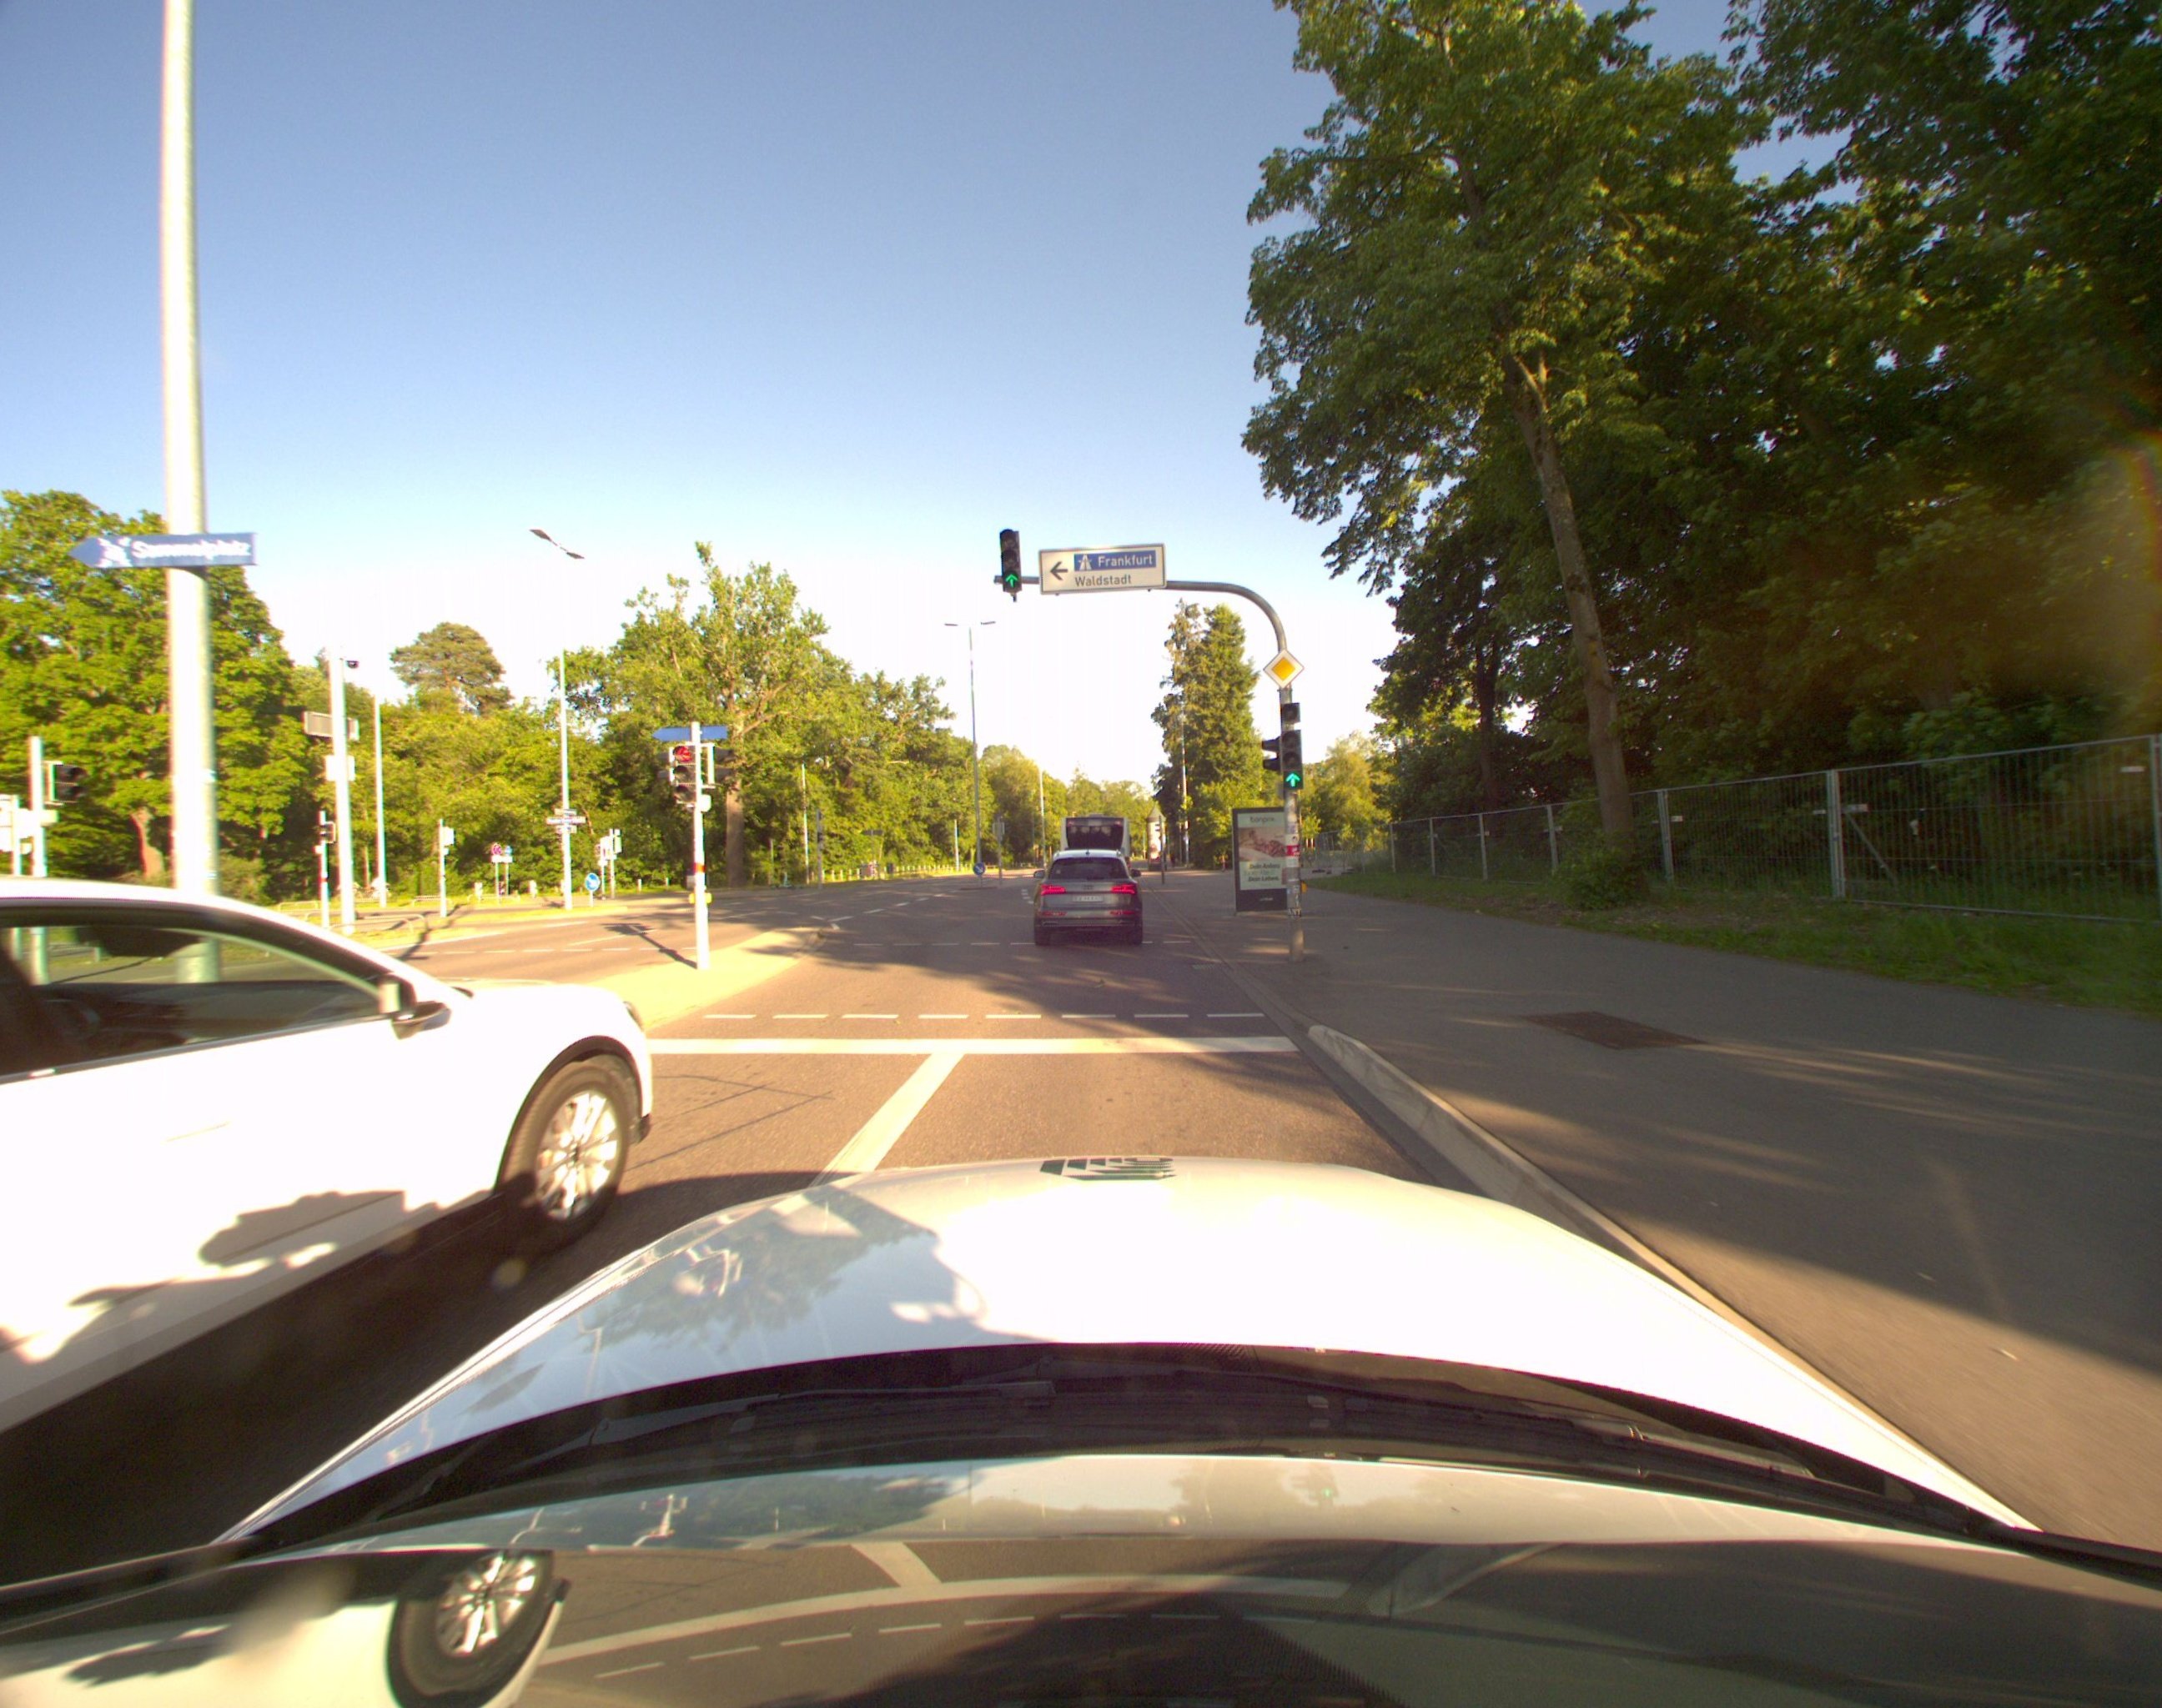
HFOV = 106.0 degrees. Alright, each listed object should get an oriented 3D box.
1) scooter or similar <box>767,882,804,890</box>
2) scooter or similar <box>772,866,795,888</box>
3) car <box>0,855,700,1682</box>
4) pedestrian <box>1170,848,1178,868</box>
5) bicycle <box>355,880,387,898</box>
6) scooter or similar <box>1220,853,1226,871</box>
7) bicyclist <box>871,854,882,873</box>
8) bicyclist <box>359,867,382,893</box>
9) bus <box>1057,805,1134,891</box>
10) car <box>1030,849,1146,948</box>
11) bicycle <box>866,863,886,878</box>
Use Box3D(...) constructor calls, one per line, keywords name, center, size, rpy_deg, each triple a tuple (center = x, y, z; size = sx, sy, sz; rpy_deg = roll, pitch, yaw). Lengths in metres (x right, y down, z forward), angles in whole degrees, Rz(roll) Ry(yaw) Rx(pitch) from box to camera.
Box3D(name="scooter or similar", center=(-15.489, 1.683, 42.721), size=(1.399, 0.339, 1.263), rpy_deg=(-2, 1, 10))
Box3D(name="scooter or similar", center=(-16.166, 1.231, 44.243), size=(1.060, 1.146, 0.395), rpy_deg=(-2, 0, 9))
Box3D(name="car", center=(-2.895, 0.779, 1.941), size=(1.827, 1.513, 4.302), rpy_deg=(-1, 0, 2))
Box3D(name="pedestrian", center=(8.109, 0.371, 70.879), size=(0.622, 1.688, 0.885), rpy_deg=(-1, -1, 11))
Box3D(name="bicycle", center=(-41.312, 2.037, 47.366), size=(1.571, 0.977, 0.789), rpy_deg=(-1, -1, 23))
Box3D(name="scooter or similar", center=(9.636, 0.518, 55.252), size=(0.279, 1.171, 1.413), rpy_deg=(-3, 0, 11))
Box3D(name="bicyclist", center=(-17.785, 0.823, 70.908), size=(0.557, 1.551, 0.804), rpy_deg=(-1, 2, 19))
Box3D(name="bicyclist", center=(-41.350, 1.506, 47.387), size=(0.790, 1.483, 0.734), rpy_deg=(-1, -1, 23))
Box3D(name="bus", center=(0.689, -0.176, 34.954), size=(2.679, 3.042, 12.045), rpy_deg=(-1, 0, 2))
Box3D(name="car", center=(0.183, 0.725, 15.542), size=(1.886, 1.605, 4.546), rpy_deg=(0, 0, 2))
Box3D(name="bicycle", center=(-17.818, 1.429, 70.814), size=(0.674, 1.154, 1.995), rpy_deg=(-1, 2, 20))
